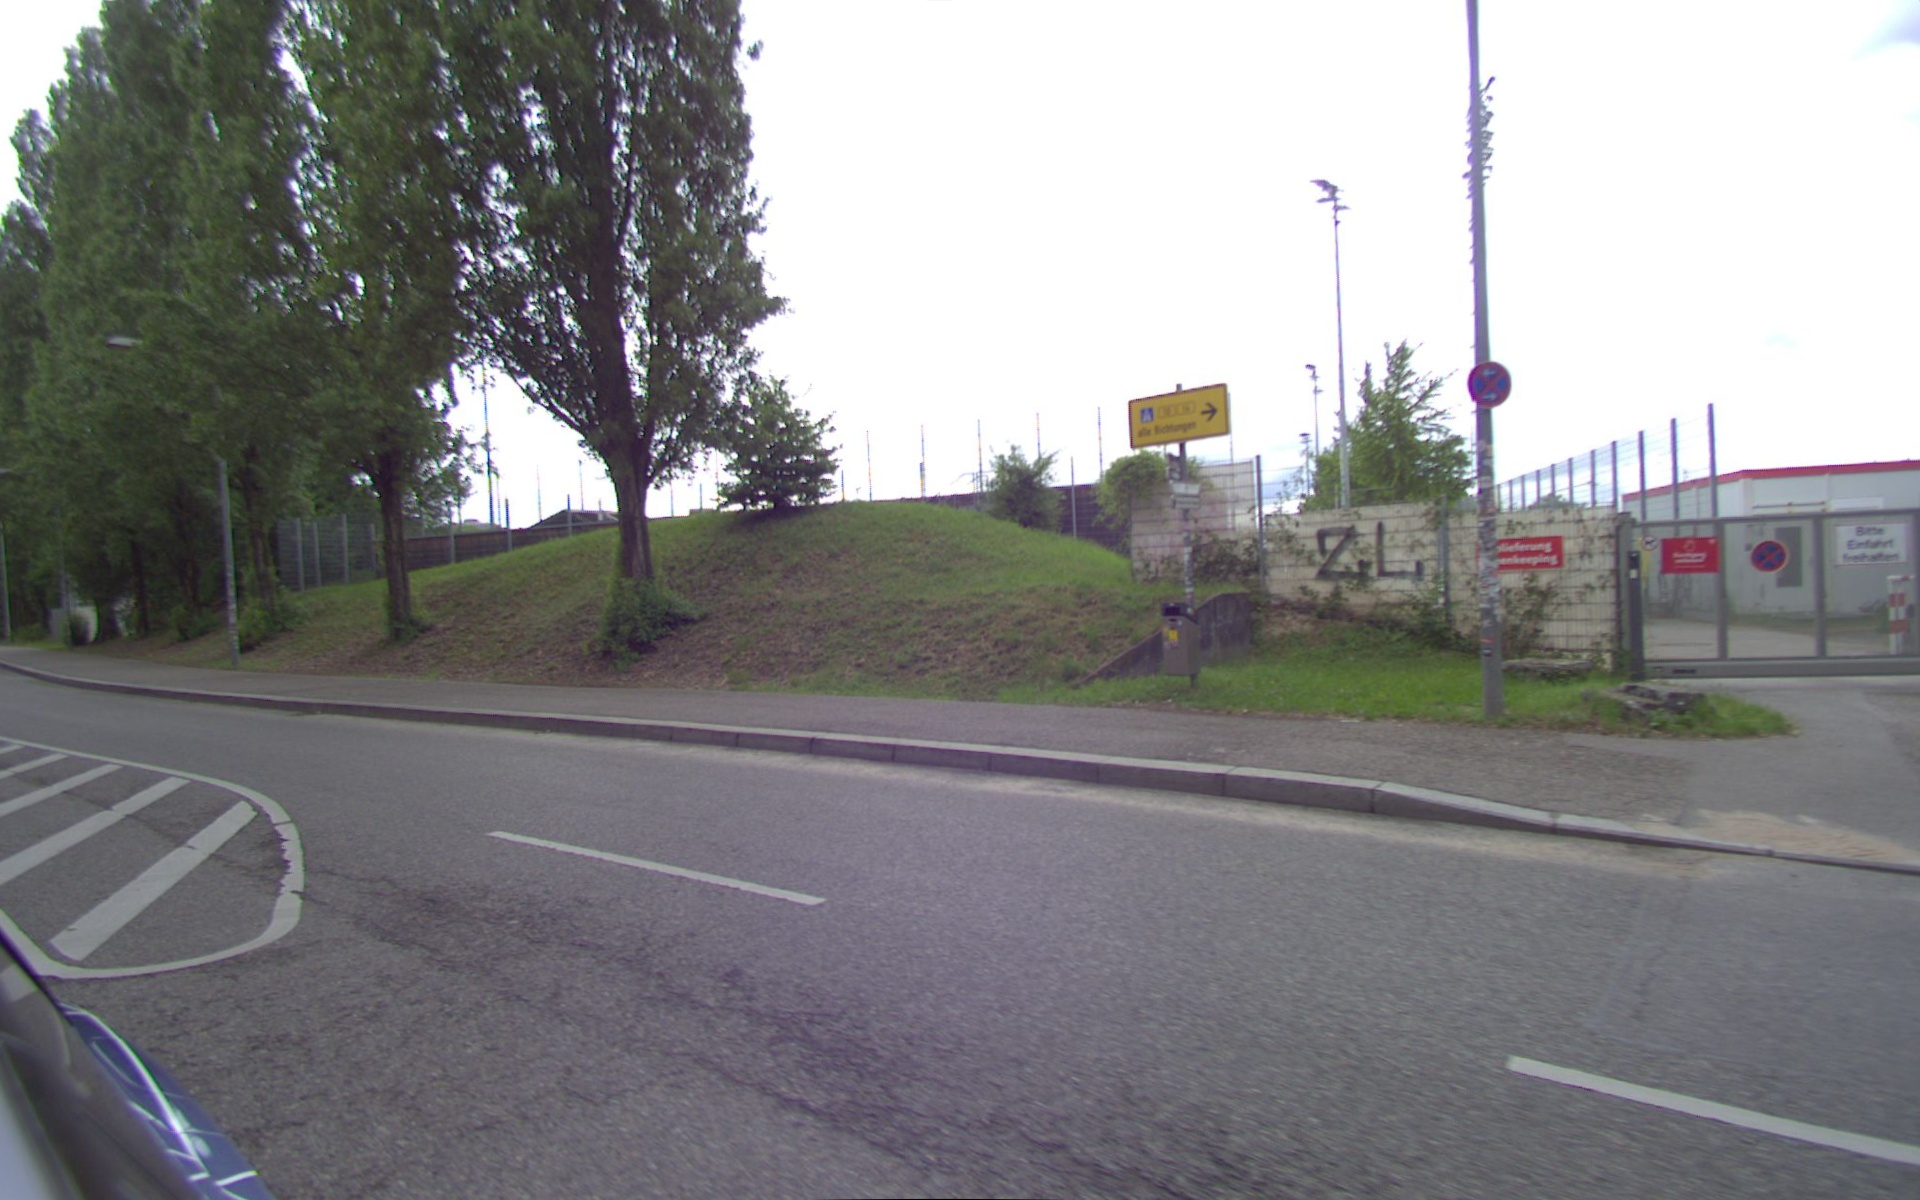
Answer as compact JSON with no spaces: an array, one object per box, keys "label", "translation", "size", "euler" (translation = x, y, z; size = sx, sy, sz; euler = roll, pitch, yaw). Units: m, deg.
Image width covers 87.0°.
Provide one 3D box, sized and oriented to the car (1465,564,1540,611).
[{"label":"car","translation":[20.684,-0.453,38.734],"size":[1.870,1.643,4.185],"euler":[-2,0,19]}]
